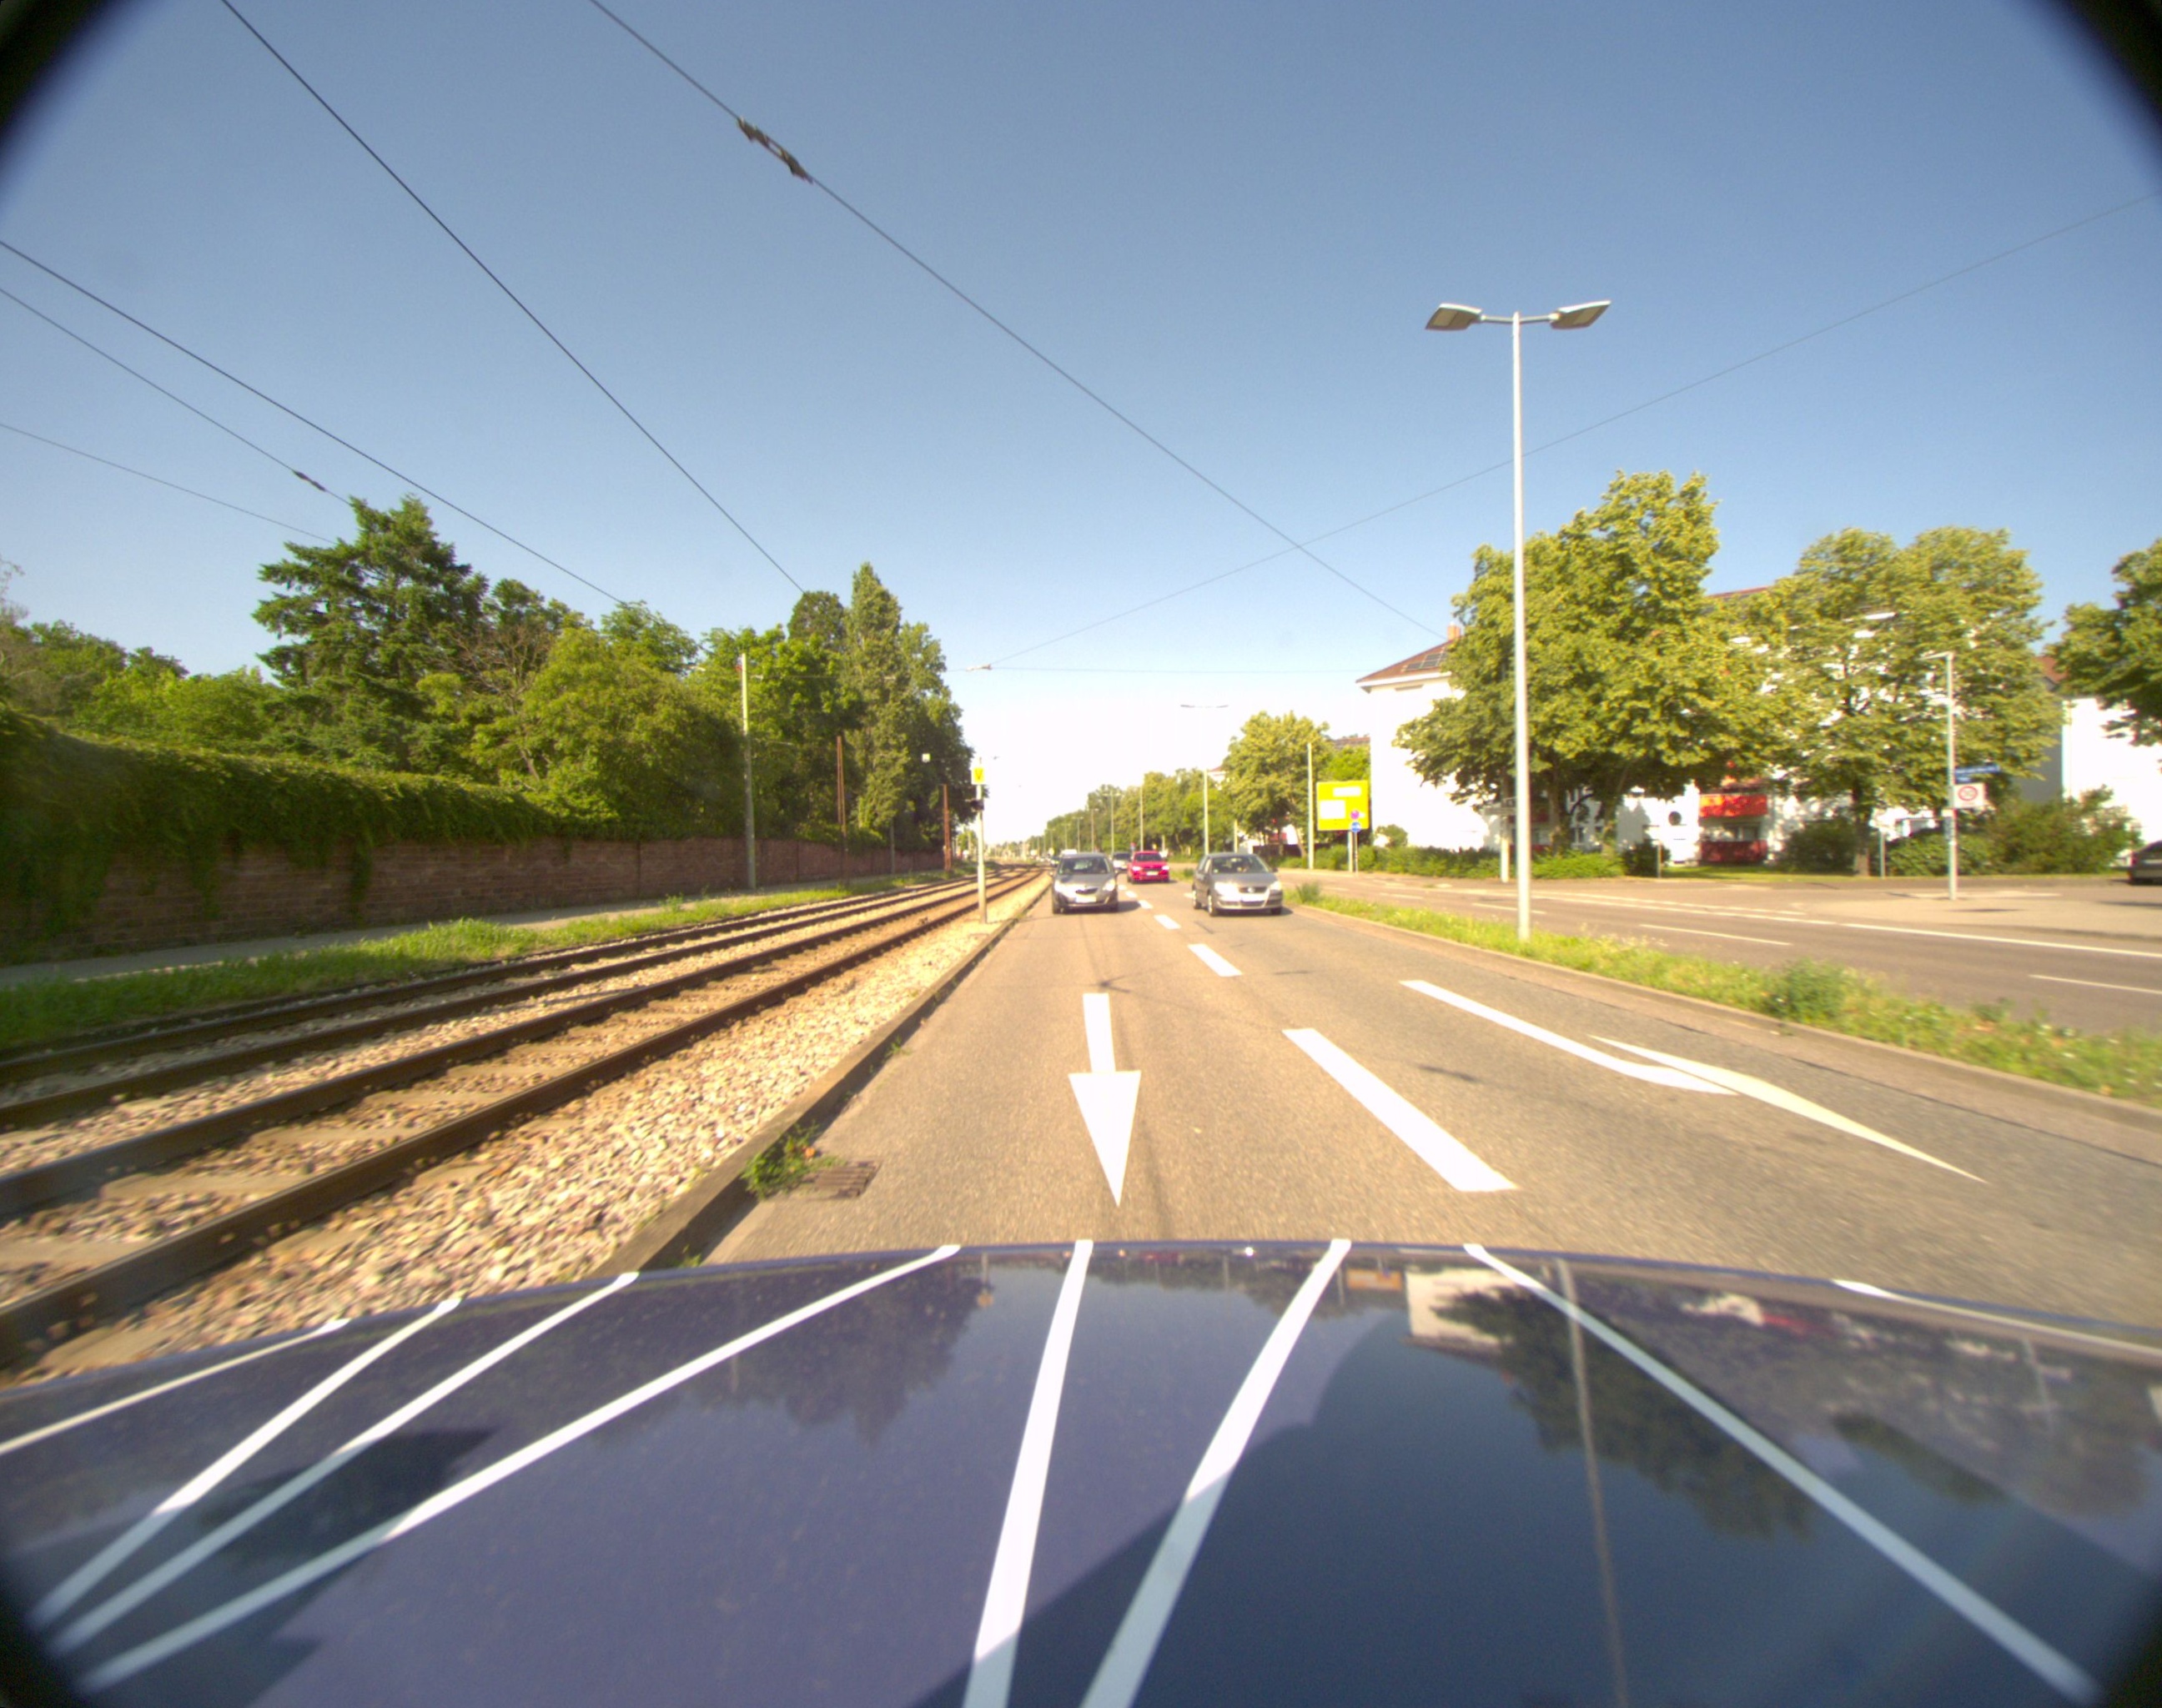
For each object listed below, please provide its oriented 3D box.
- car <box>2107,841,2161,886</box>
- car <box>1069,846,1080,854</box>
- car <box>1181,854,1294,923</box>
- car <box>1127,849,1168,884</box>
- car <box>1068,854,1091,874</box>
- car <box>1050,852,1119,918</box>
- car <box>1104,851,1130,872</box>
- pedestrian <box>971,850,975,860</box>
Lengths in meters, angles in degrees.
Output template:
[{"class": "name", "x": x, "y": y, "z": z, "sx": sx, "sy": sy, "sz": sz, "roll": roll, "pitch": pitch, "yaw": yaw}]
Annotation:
[{"class": "car", "x": 37.122, "y": 0.290, "z": 25.258, "sx": 3.561, "sy": 1.478, "sz": 1.759, "roll": -1, "pitch": 1, "yaw": 2}, {"class": "car", "x": -1.195, "y": -0.726, "z": 137.514, "sx": 1.710, "sy": 1.513, "sz": 3.832, "roll": -2, "pitch": 0, "yaw": -3}, {"class": "car", "x": 3.675, "y": 0.744, "z": 18.498, "sx": 1.693, "sy": 1.420, "sz": 3.831, "roll": -2, "pitch": 0, "yaw": -4}, {"class": "car", "x": 3.304, "y": 0.580, "z": 38.181, "sx": 1.692, "sy": 1.573, "sz": 3.833, "roll": -2, "pitch": 0, "yaw": 0}, {"class": "car", "x": -0.077, "y": 0.762, "z": 60.760, "sx": 1.710, "sy": 1.513, "sz": 3.833, "roll": -2, "pitch": 0, "yaw": 0}, {"class": "car", "x": 0.087, "y": 0.767, "z": 20.804, "sx": 1.650, "sy": 1.581, "sz": 3.833, "roll": -2, "pitch": 0, "yaw": 0}, {"class": "car", "x": 2.746, "y": 0.564, "z": 59.116, "sx": 1.710, "sy": 1.513, "sz": 3.832, "roll": -2, "pitch": 0, "yaw": -1}, {"class": "pedestrian", "x": -18.388, "y": 0.219, "z": 129.253, "sx": 0.501, "sy": 1.706, "sz": 0.885, "roll": -1, "pitch": 1, "yaw": 1}]
